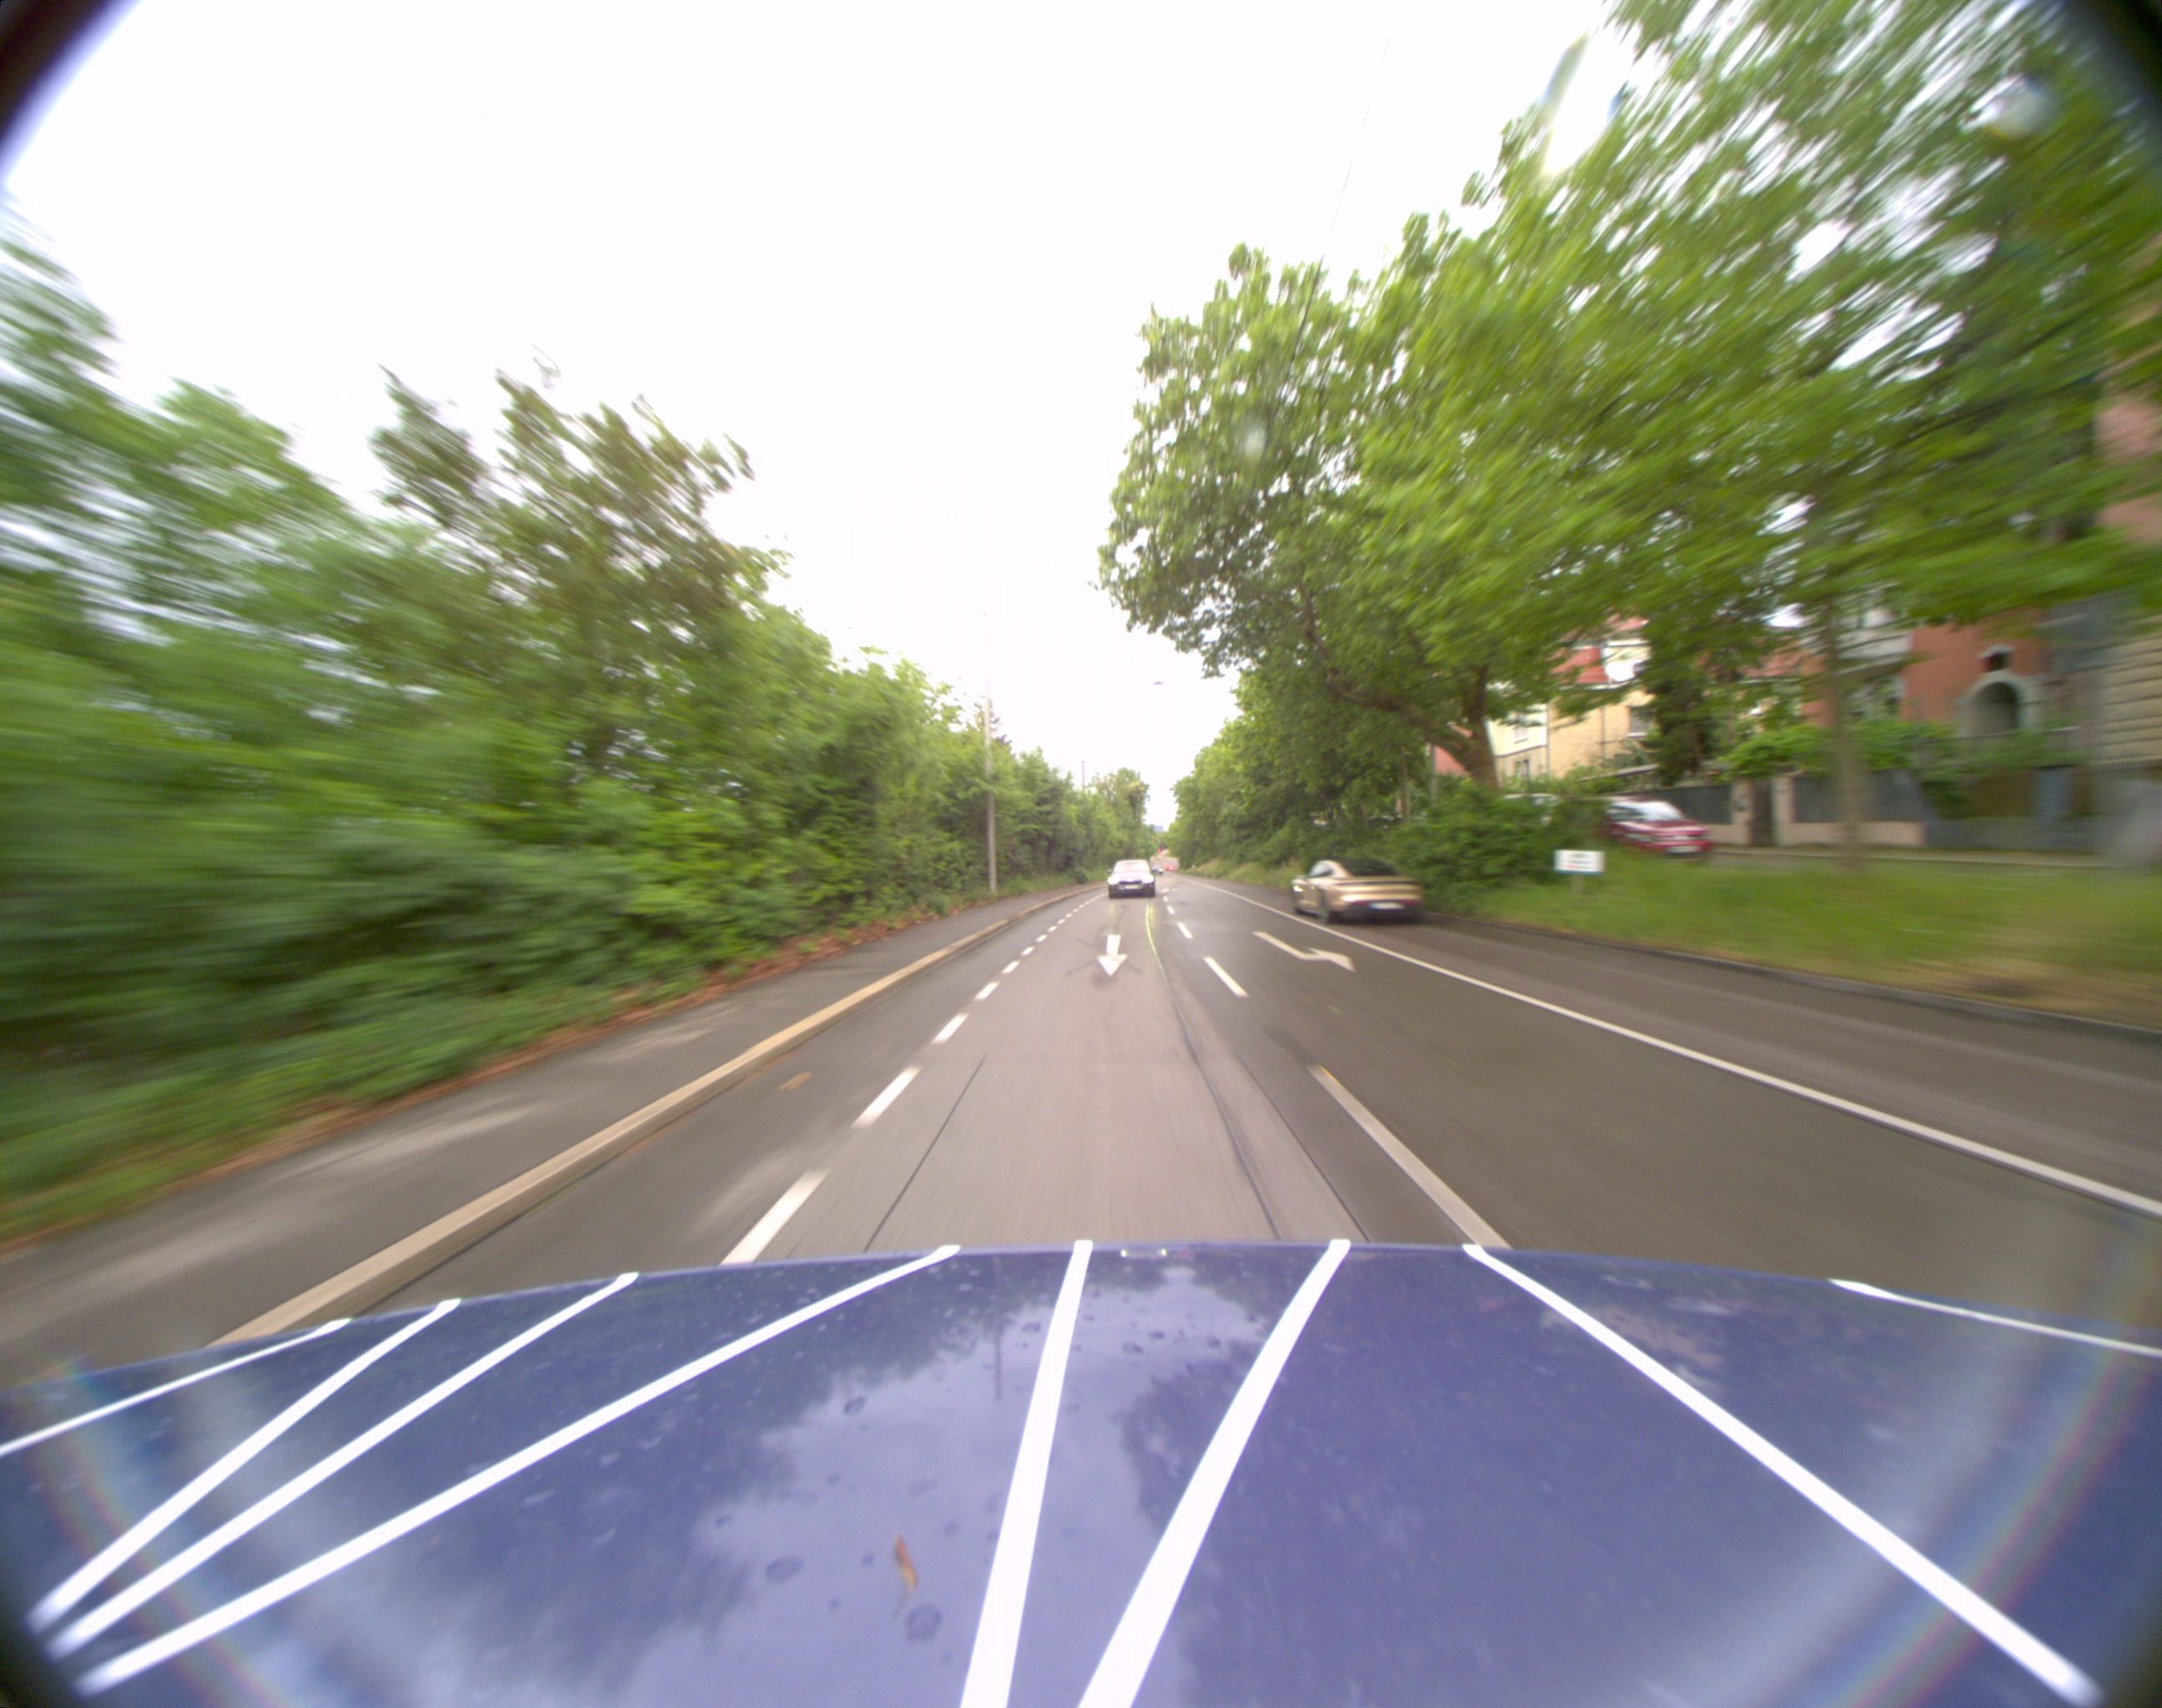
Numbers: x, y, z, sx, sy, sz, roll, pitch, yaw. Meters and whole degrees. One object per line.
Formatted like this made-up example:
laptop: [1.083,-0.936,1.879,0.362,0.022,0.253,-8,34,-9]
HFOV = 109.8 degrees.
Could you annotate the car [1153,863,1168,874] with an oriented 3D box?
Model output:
car: [11.580,2.067,110.635,1.997,1.433,4.003,-3,-1,7]

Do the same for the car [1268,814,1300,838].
car: [15.609,-2.154,58.717,1.834,1.548,4.289,-3,-1,8]

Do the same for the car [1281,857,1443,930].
car: [6.146,0.806,17.299,2.076,1.345,4.715,-3,-1,3]

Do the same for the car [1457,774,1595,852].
car: [13.497,-1.149,23.431,1.997,2.001,4.631,-3,-1,8]

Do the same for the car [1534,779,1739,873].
car: [12.653,-0.545,17.752,1.834,1.832,4.631,-3,-1,8]

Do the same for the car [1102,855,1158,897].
car: [1.992,0.840,30.212,1.980,1.496,4.002,-3,-1,5]
